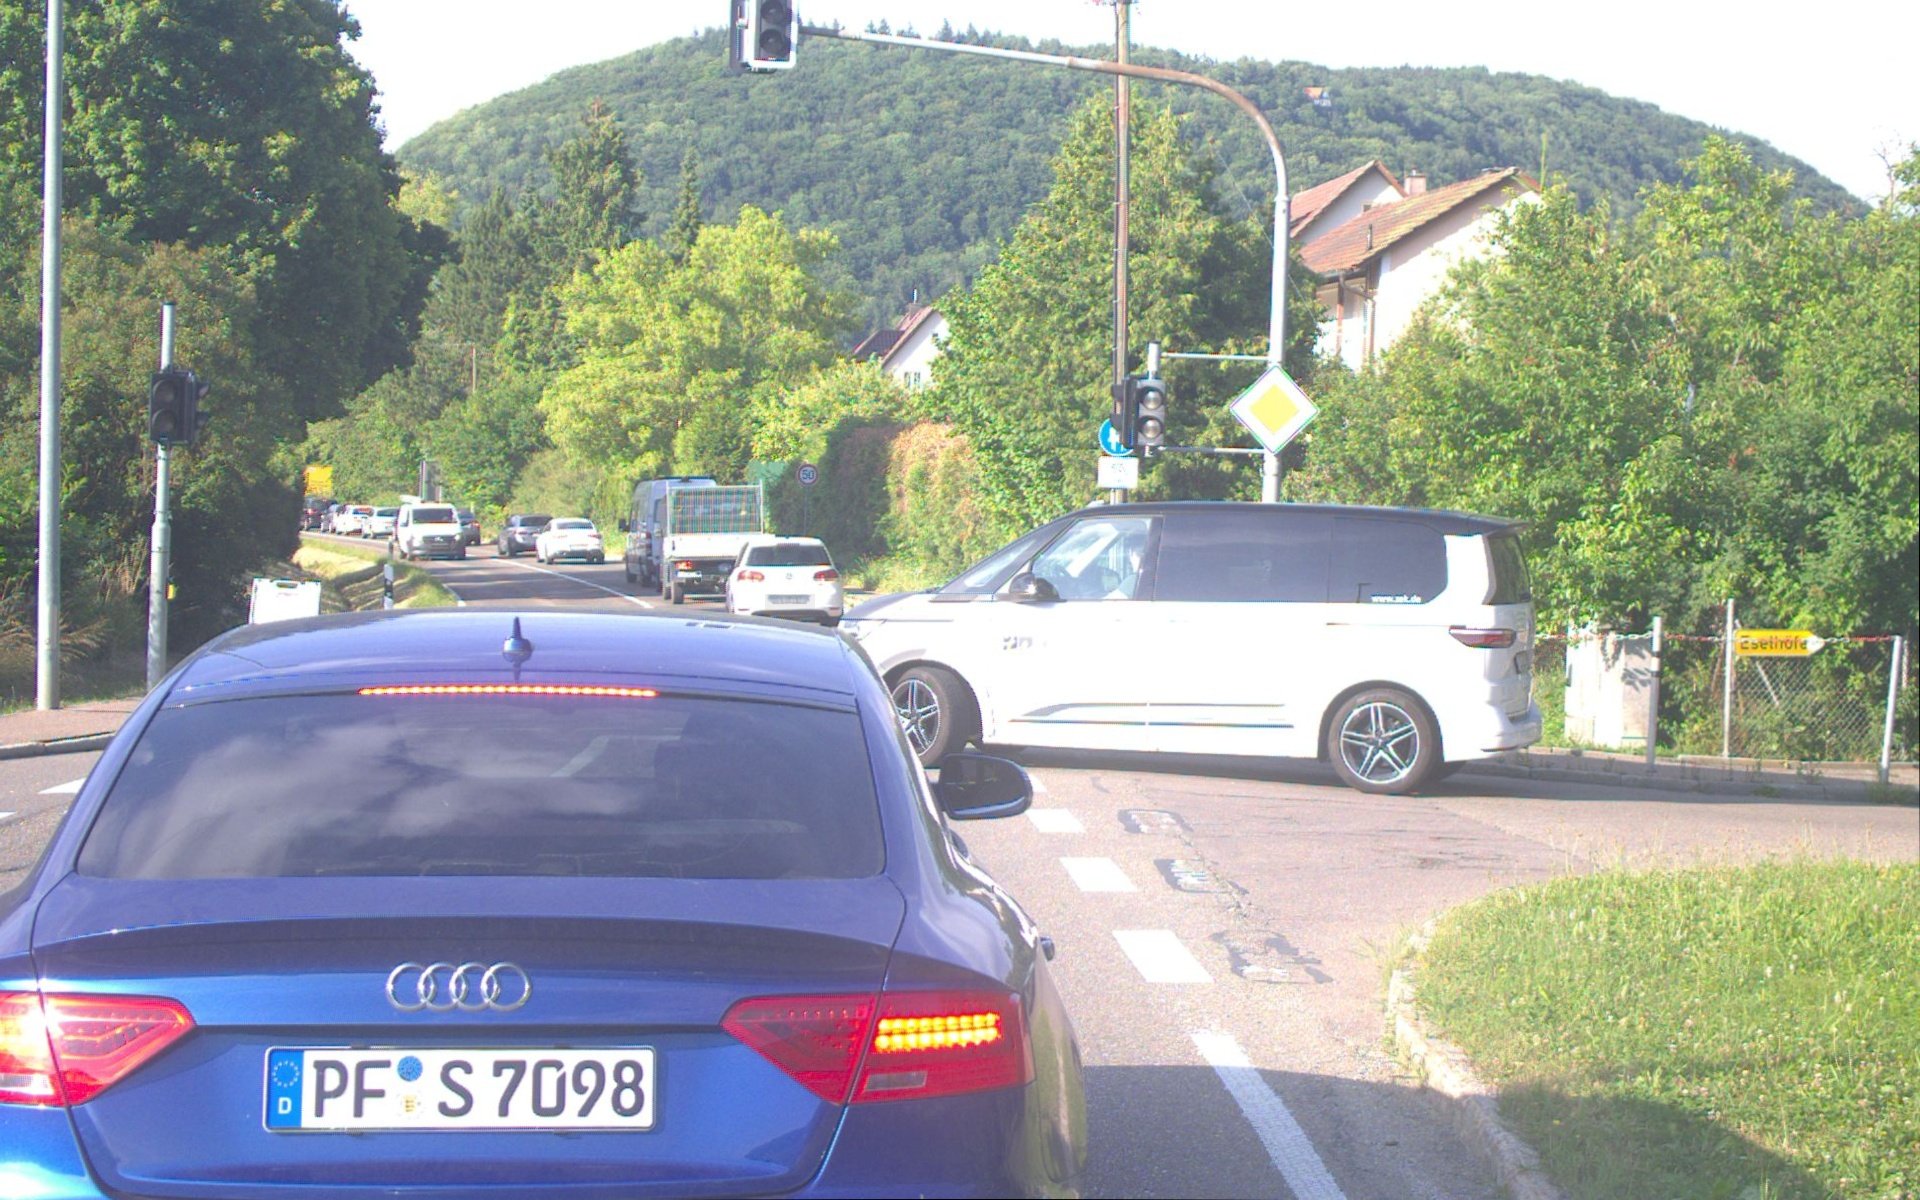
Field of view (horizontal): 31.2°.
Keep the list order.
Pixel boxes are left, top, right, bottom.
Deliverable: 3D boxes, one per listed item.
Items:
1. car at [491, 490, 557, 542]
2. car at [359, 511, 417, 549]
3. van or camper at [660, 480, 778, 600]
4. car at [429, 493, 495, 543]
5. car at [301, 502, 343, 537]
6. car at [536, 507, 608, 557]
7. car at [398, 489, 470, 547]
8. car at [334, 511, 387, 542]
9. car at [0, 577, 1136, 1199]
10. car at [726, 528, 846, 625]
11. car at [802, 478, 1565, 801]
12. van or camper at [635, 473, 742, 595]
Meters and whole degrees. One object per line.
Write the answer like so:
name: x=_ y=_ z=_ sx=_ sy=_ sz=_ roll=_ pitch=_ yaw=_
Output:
car: x=-15.213 y=-2.927 z=119.768 sx=1.796 sy=1.787 sz=4.001 roll=-1 pitch=1 yaw=-14
car: x=-26.028 y=-3.187 z=156.361 sx=1.941 sy=1.678 sz=4.001 roll=-1 pitch=1 yaw=-19
van or camper: x=-5.012 y=-1.261 z=70.917 sx=2.179 sy=2.377 sz=5.371 roll=0 pitch=2 yaw=-6
car: x=-20.198 y=-3.337 z=139.282 sx=1.993 sy=2.006 sz=4.001 roll=0 pitch=2 yaw=-18
car: x=-32.967 y=-4.138 z=177.604 sx=1.771 sy=1.776 sz=4.001 roll=-1 pitch=1 yaw=-16
car: x=-12.272 y=-2.160 z=108.531 sx=1.819 sy=1.546 sz=4.001 roll=-1 pitch=1 yaw=-13
car: x=-17.807 y=-2.774 z=116.186 sx=1.993 sy=1.897 sz=5.255 roll=-1 pitch=2 yaw=-13
car: x=-28.813 y=-3.545 z=165.245 sx=1.941 sy=1.419 sz=4.001 roll=0 pitch=2 yaw=-18
car: x=-0.772 y=0.699 z=6.467 sx=1.829 sy=1.404 sz=4.227 roll=-1 pitch=1 yaw=-2
car: x=-2.713 y=-0.402 z=54.347 sx=1.771 sy=1.410 sz=4.174 roll=2 pitch=1 yaw=-2
car: x=1.567 y=0.209 z=23.594 sx=4.858 sy=1.870 sz=1.999 roll=3 pitch=2 yaw=15
van or camper: x=-6.738 y=-1.658 z=84.722 sx=2.414 sy=2.894 sz=6.133 roll=0 pitch=2 yaw=-6
